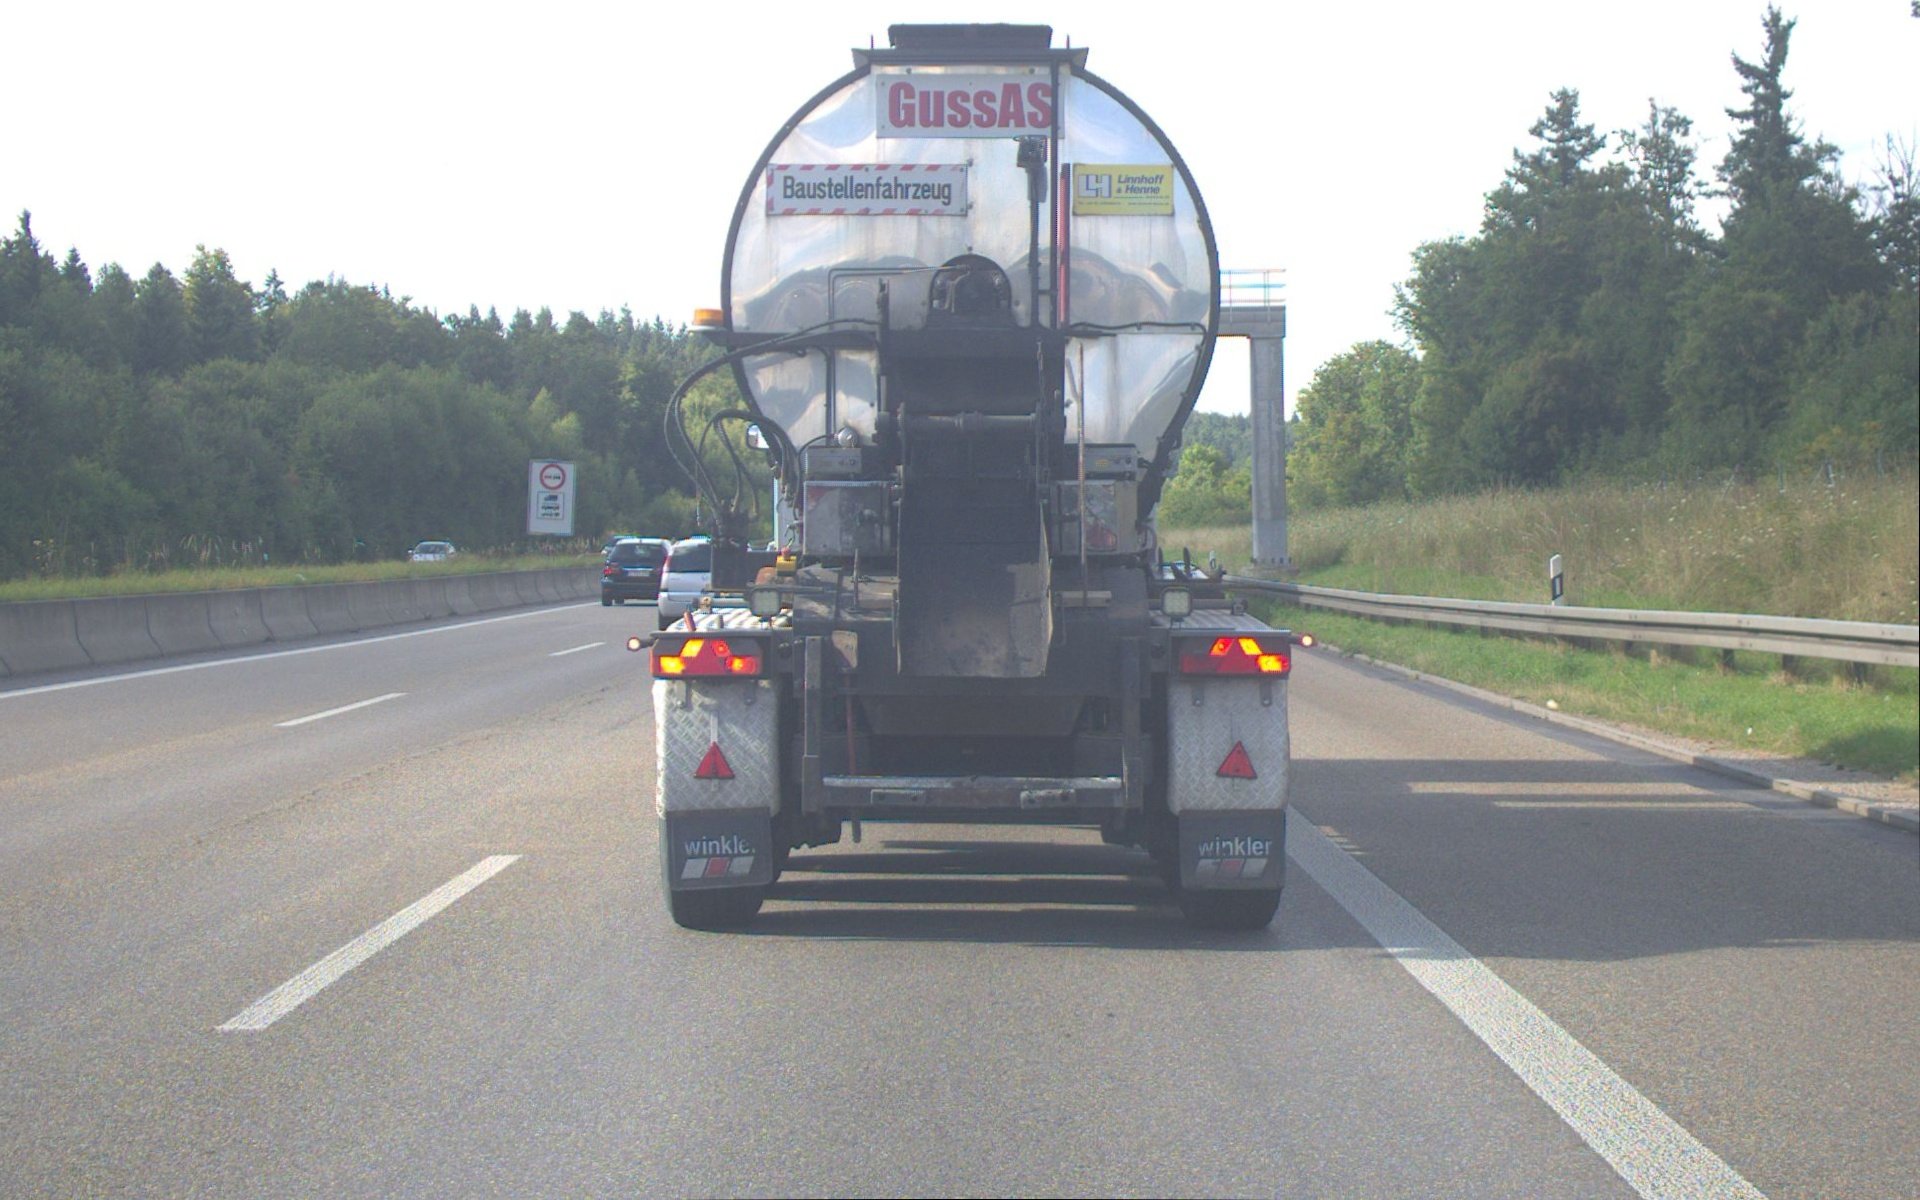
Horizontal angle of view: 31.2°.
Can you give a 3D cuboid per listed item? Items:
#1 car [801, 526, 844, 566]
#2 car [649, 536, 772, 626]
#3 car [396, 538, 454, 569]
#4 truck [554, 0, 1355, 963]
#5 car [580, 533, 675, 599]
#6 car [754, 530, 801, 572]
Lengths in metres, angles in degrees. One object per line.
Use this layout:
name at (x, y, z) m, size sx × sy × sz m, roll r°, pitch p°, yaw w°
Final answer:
car at (-6.112, -2.417, 153.195) m, size 1.845 × 1.777 × 4.000 m, roll 0°, pitch 1°, yaw -1°
car at (-4.331, -0.358, 60.216) m, size 1.835 × 1.512 × 4.333 m, roll 0°, pitch 1°, yaw 0°
car at (-22.200, -1.937, 142.759) m, size 1.816 × 1.286 × 3.544 m, roll 0°, pitch 1°, yaw 0°
truck at (0.022, -0.853, 18.197) m, size 2.912 × 4.143 × 11.270 m, roll 0°, pitch 1°, yaw 0°
car at (-7.885, -0.830, 81.868) m, size 1.835 × 1.512 × 4.333 m, roll 0°, pitch 1°, yaw 0°
car at (-7.020, -1.884, 132.198) m, size 1.618 × 1.539 × 3.520 m, roll 1°, pitch 1°, yaw 0°
